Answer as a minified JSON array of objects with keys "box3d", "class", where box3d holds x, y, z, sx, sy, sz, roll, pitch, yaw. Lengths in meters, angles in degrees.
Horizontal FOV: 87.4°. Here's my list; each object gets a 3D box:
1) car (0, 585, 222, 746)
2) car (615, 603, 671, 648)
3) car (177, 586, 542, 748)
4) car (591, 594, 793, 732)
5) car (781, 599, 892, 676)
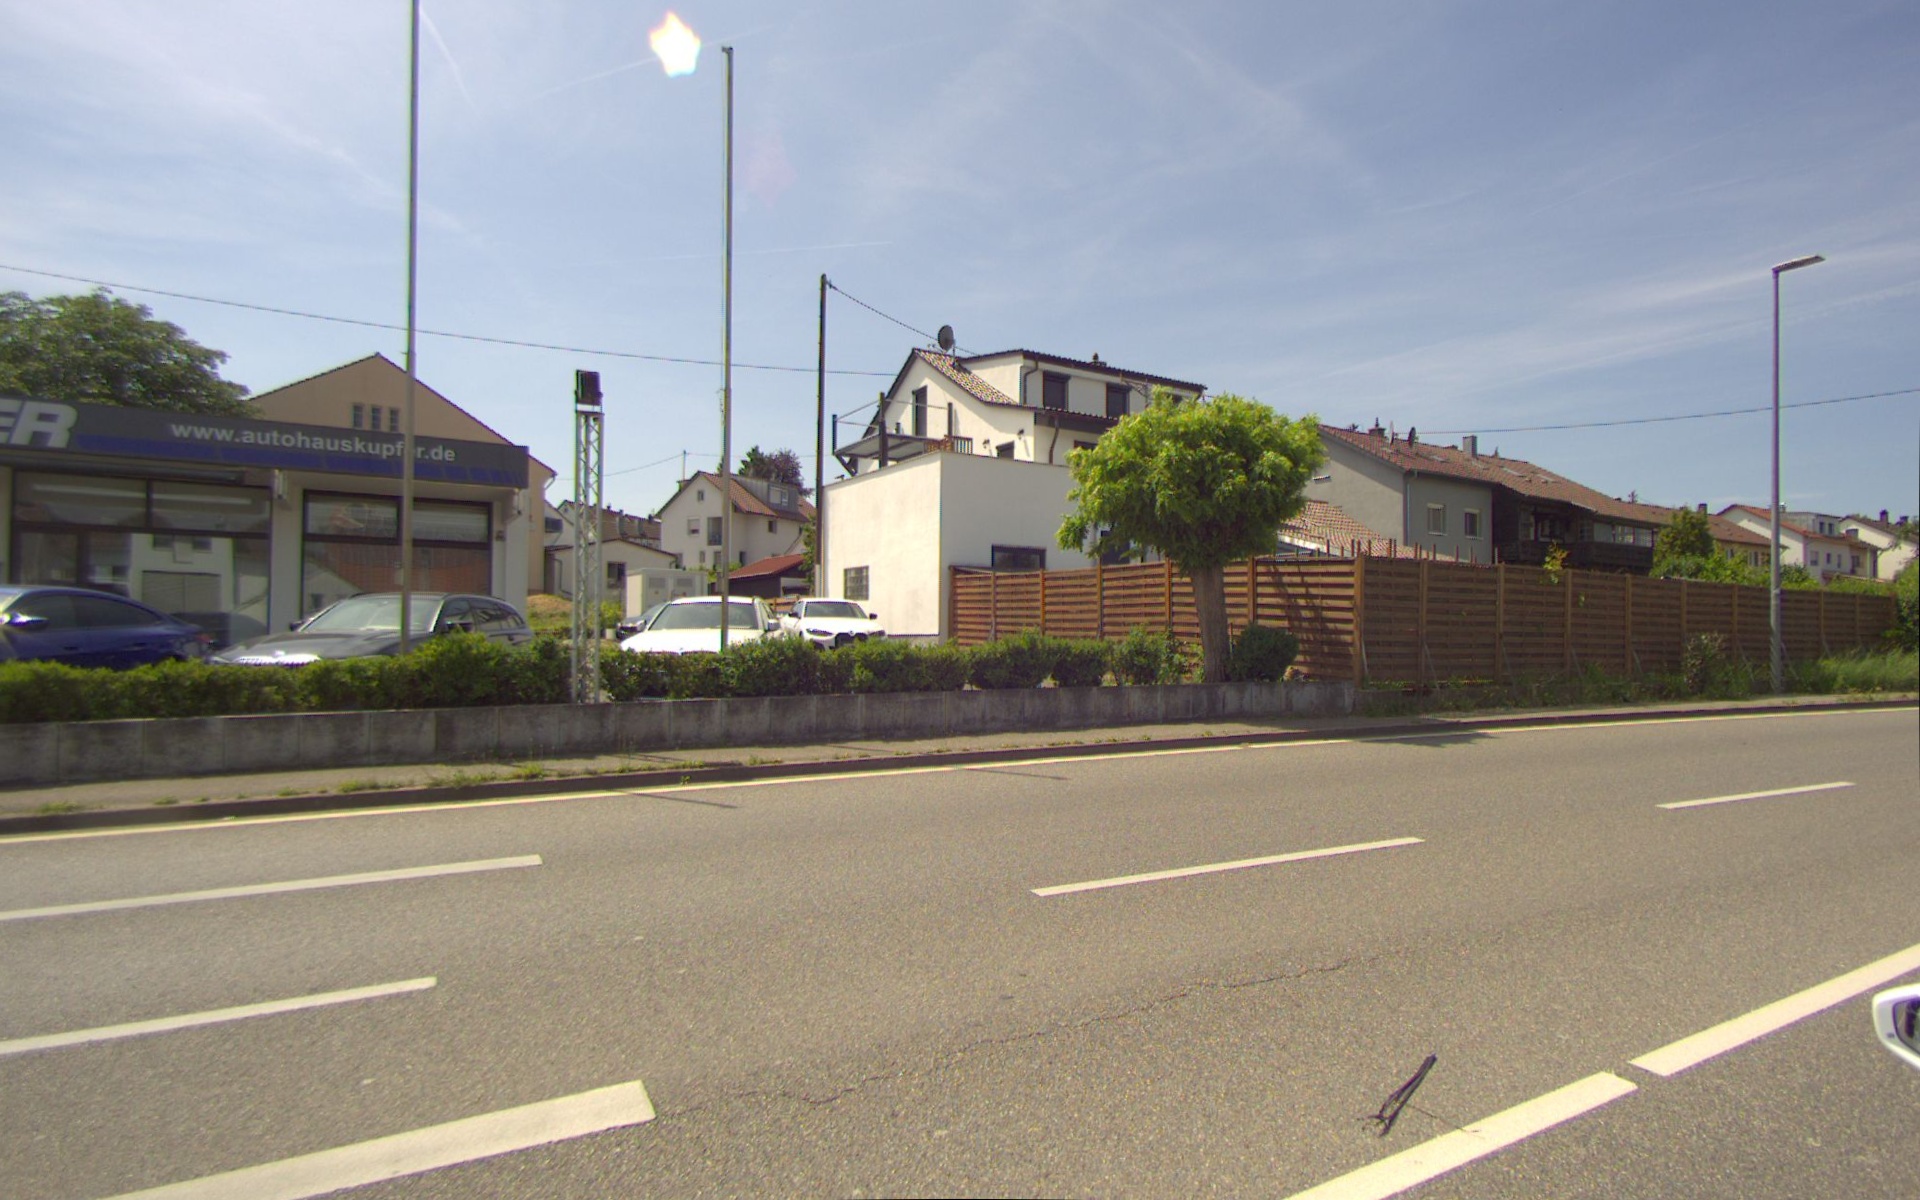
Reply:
[{"box3d":[-9.824,0.594,9.944,1.821,1.467,4.342,2,0,-1],"class":"car"},{"box3d":[-10.765,0.834,34.241,1.685,1.420,3.985,1,0,-17],"class":"car"},{"box3d":[-6.510,0.638,11.570,1.863,1.467,4.339,2,0,-5],"class":"car"},{"box3d":[-3.303,0.701,13.236,1.822,1.467,4.339,2,0,-5],"class":"car"},{"box3d":[-2.862,0.772,22.552,1.805,1.530,3.985,1,0,-17],"class":"car"}]
